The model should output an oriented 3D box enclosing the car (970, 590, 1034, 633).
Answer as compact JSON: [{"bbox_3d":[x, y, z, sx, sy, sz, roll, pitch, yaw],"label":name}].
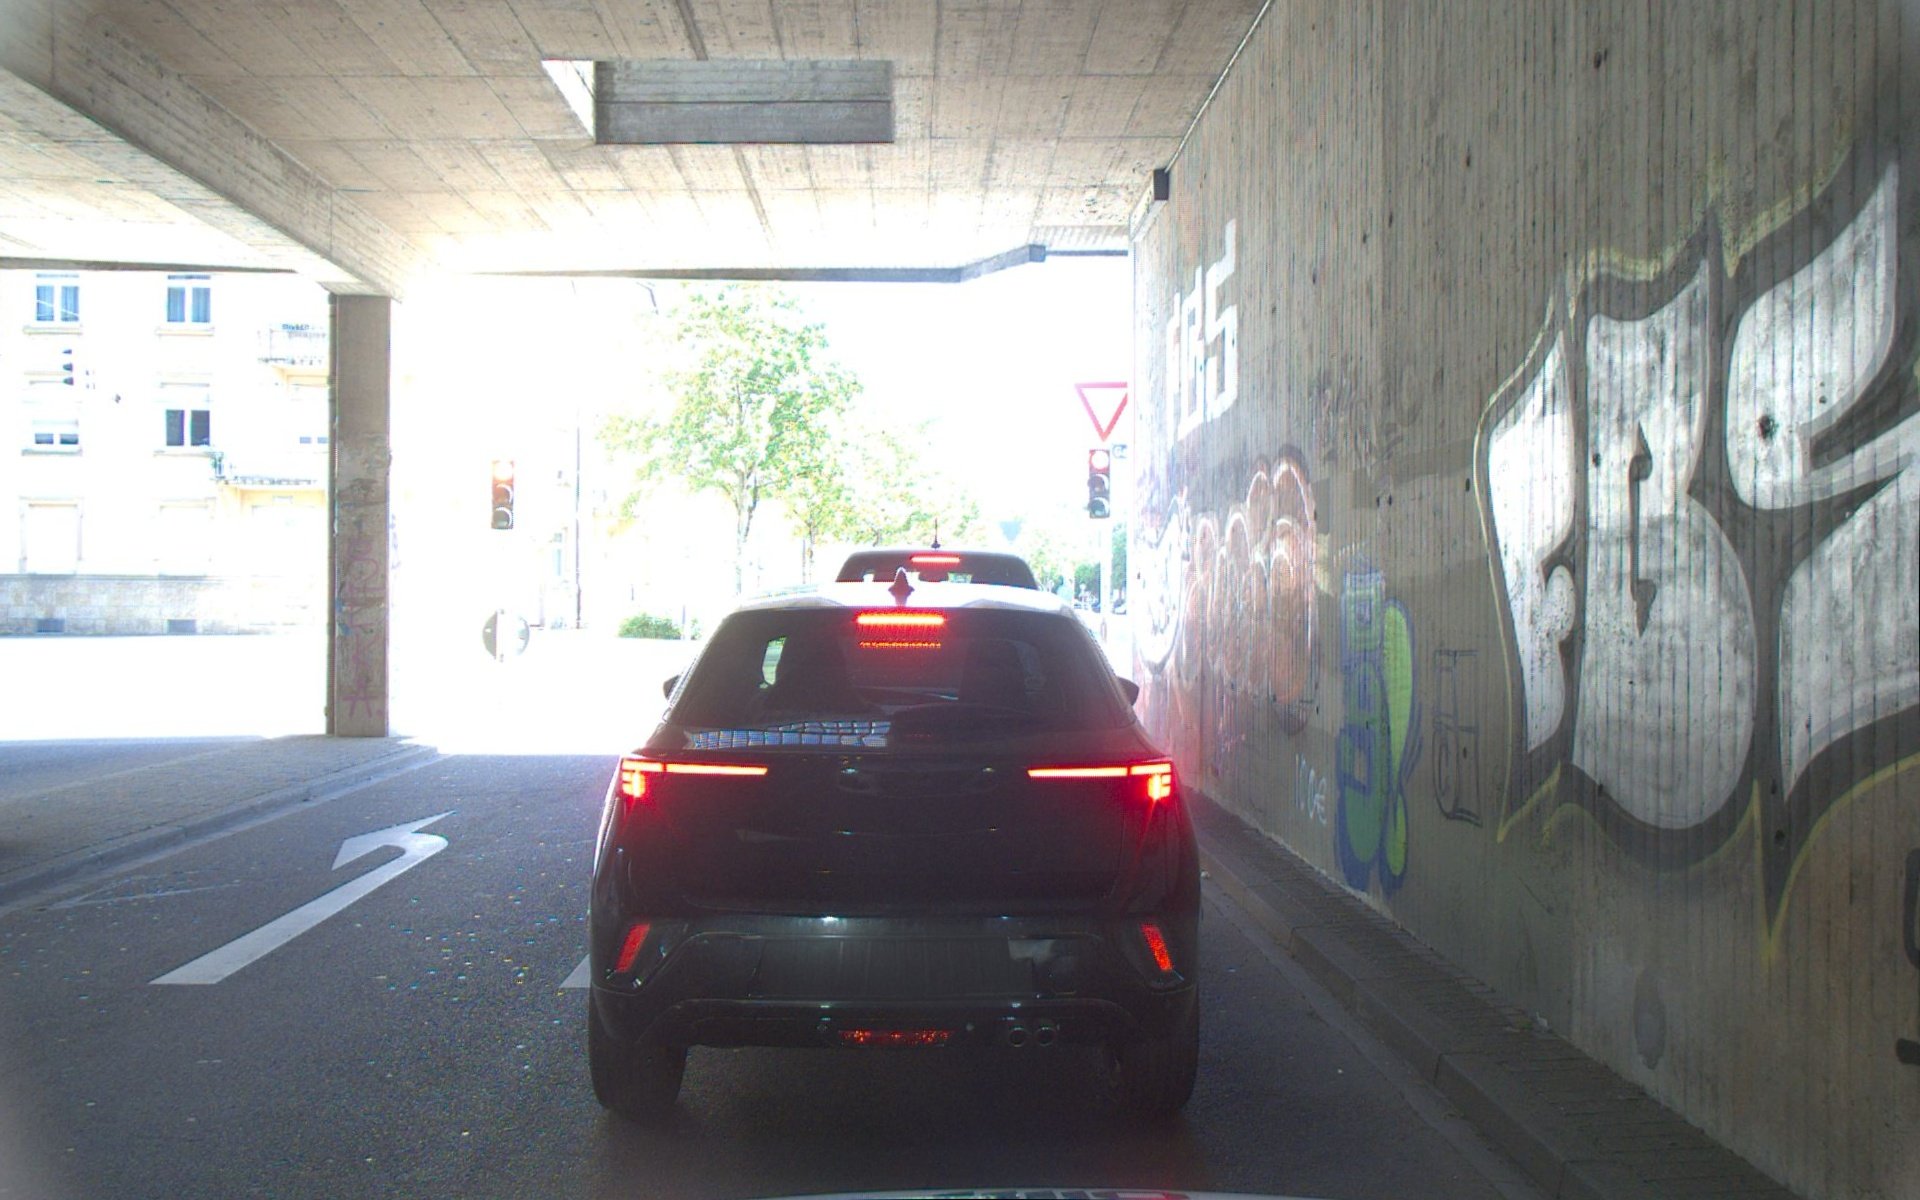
[{"bbox_3d":[1.616,0.455,62.211,1.926,1.523,3.899,0,-1,8],"label":"car"}]

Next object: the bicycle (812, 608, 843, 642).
[{"bbox_3d":[-4.289,0.807,53.605,0.612,1.086,1.690,1,0,9],"label":"bicycle"}]

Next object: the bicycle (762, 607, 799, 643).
[{"bbox_3d":[-5.562,0.774,51.415,0.716,1.086,1.690,1,0,9],"label":"bicycle"}]

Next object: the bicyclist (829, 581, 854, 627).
[{"bbox_3d":[-4.198,0.134,58.709,0.713,1.609,0.815,1,-1,9],"label":"bicyclist"}]

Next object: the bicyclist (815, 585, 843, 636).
[{"bbox_3d":[-4.259,0.342,53.649,0.713,1.609,0.815,1,-1,9],"label":"bicyclist"}]

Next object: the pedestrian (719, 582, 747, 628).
[{"bbox_3d":[-10.204,0.227,74.376,0.971,2.049,1.089,0,0,7],"label":"pedestrian"}]

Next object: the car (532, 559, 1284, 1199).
[{"bbox_3d":[-0.152,0.674,6.054,1.844,1.565,3.963,0,0,-1],"label":"car"}]

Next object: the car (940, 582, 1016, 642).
[{"bbox_3d":[0.494,0.346,44.173,1.927,1.523,3.896,0,-1,1],"label":"car"}]

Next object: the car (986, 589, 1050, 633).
[{"bbox_3d":[2.460,0.500,69.033,2.173,1.749,4.463,0,-1,9],"label":"car"}]

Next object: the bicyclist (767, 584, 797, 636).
[{"bbox_3d":[-5.542,0.309,51.449,0.713,1.609,0.815,1,-1,9],"label":"bicyclist"}]

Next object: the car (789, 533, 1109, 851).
[{"bbox_3d":[-0.094,0.536,11.879,1.906,1.892,3.963,0,0,-1],"label":"car"}]

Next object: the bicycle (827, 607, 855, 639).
[{"bbox_3d":[-4.213,0.817,58.842,0.612,1.086,1.690,1,0,9],"label":"bicycle"}]
